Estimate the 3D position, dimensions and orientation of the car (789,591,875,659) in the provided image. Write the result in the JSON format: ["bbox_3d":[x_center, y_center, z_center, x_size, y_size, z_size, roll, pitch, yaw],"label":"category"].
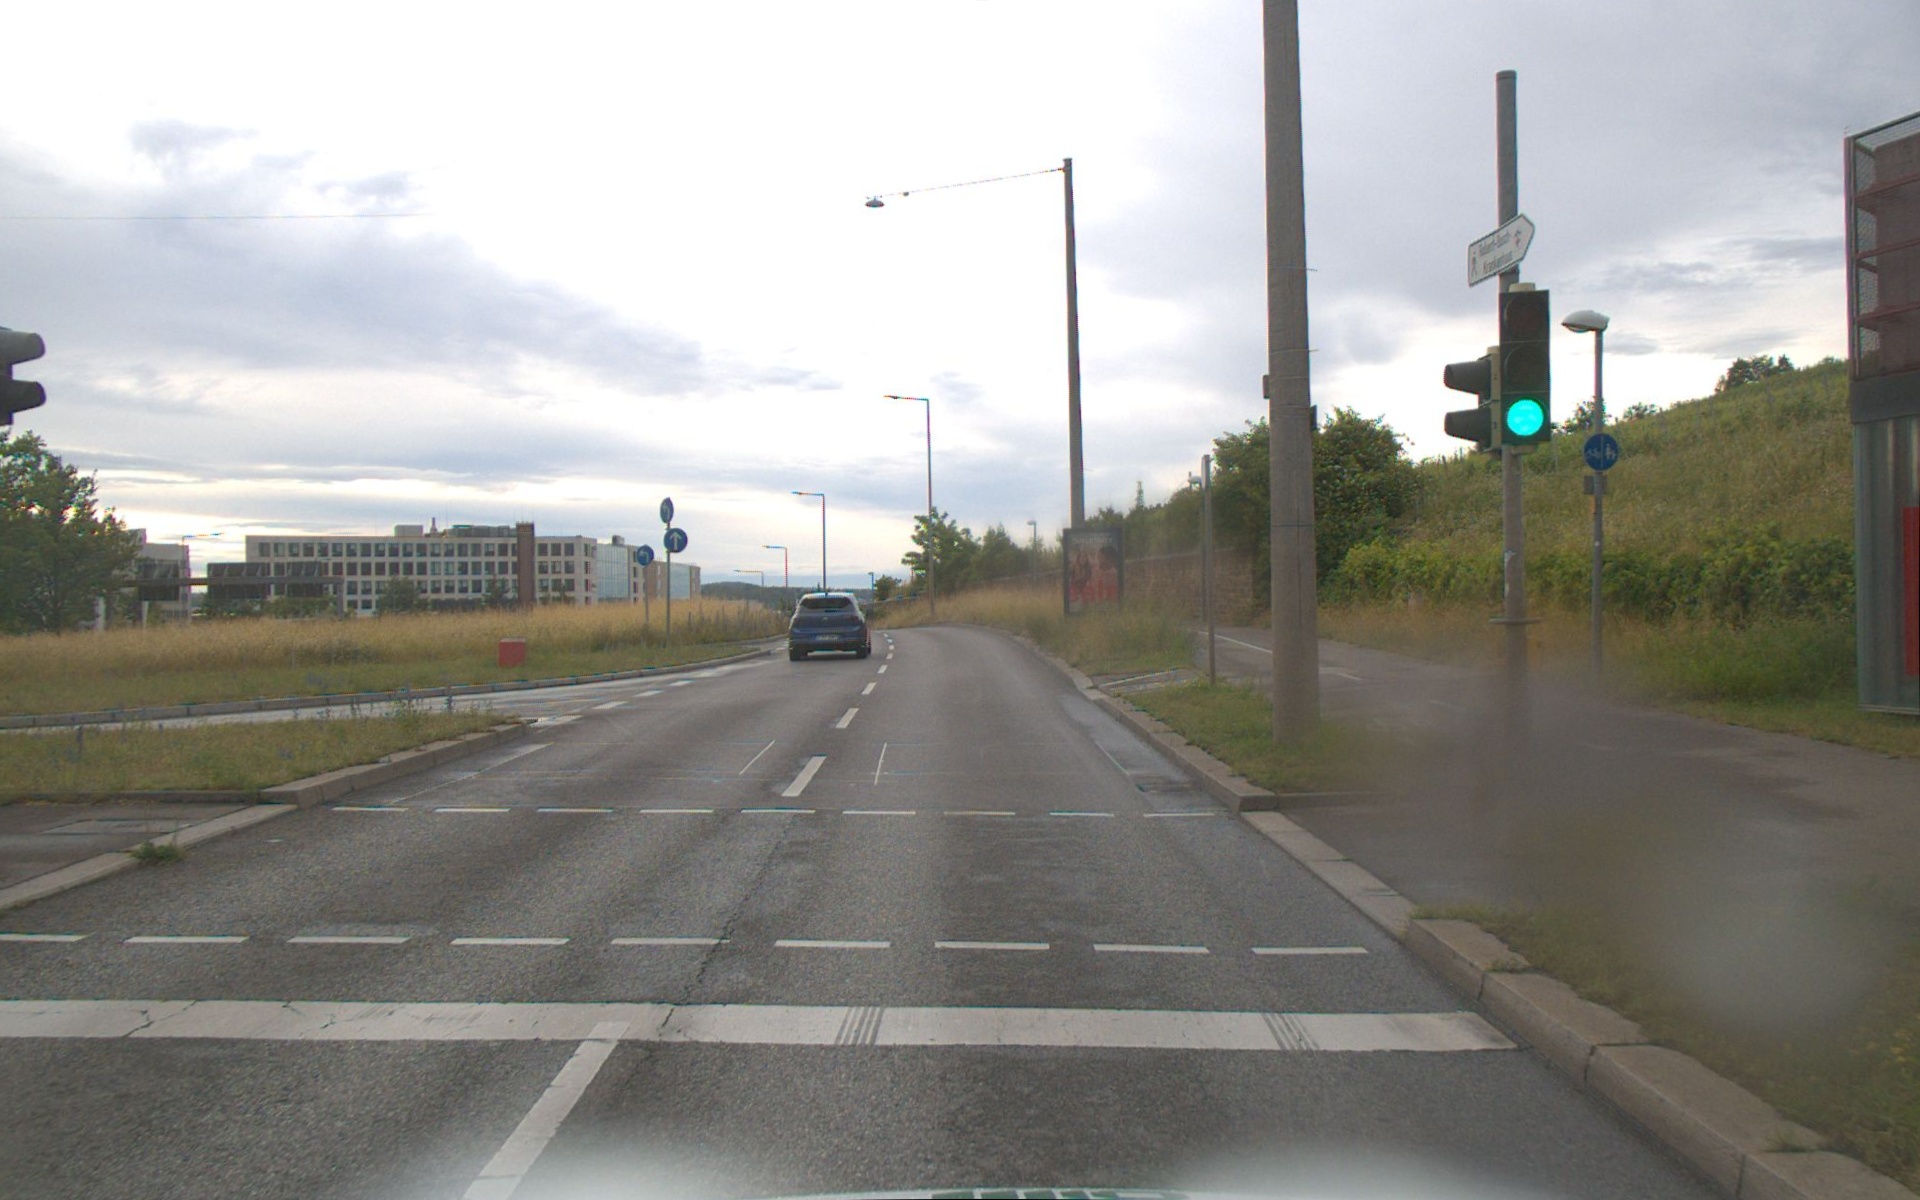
[{"bbox_3d":[-2.856,0.542,37.532,1.713,1.445,3.477,1,0,-1],"label":"car"}]
